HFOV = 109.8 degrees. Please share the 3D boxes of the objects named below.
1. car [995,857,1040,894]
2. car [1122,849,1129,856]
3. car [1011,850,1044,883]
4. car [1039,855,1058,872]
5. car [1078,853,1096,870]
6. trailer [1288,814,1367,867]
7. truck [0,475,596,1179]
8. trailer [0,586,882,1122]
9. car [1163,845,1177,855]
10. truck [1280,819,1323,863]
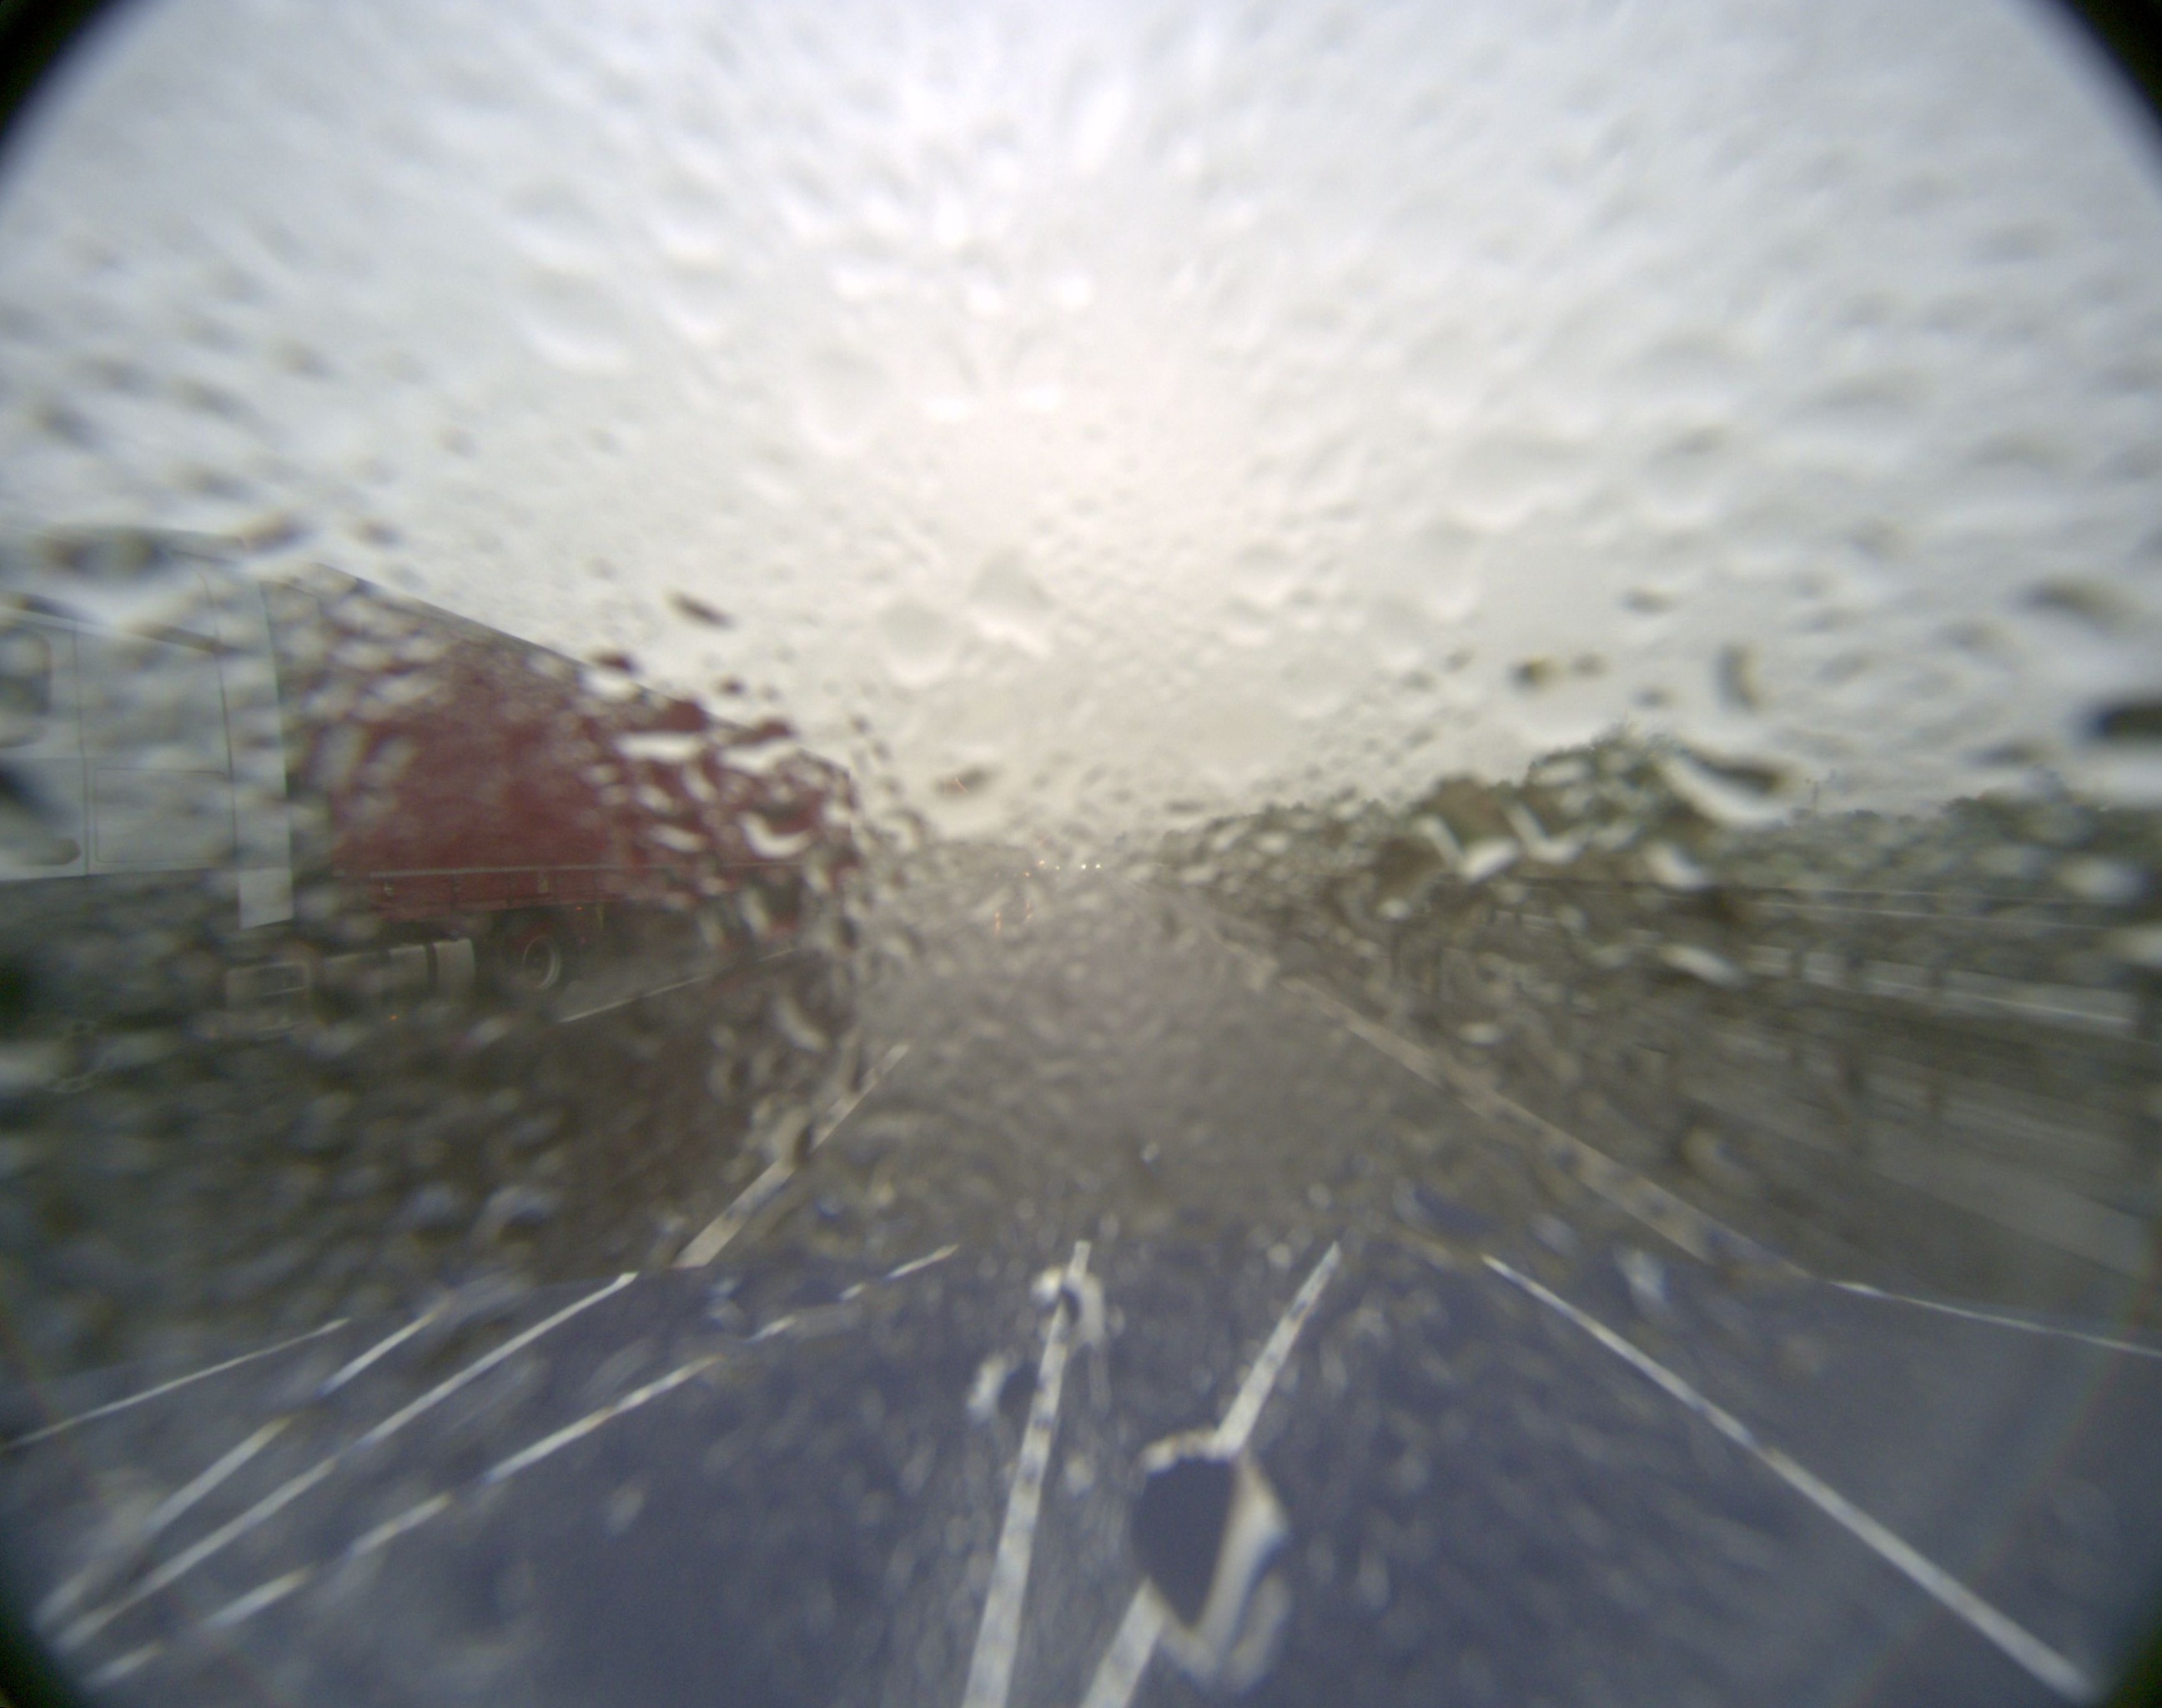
[{"bbox_3d":[-2.865,0.946,34.978,1.663,1.491,3.836,-2,0,1],"label":"car"},{"bbox_3d":[13.254,-0.447,225.016,1.845,2.002,4.000,-2,0,1],"label":"car"},{"bbox_3d":[-2.831,0.641,40.550,1.517,1.607,3.186,-2,0,0],"label":"car"},{"bbox_3d":[-3.495,1.002,82.568,1.845,1.671,4.000,-2,0,0],"label":"car"},{"bbox_3d":[0.646,0.769,80.887,1.845,1.671,4.000,-2,0,0],"label":"car"},{"bbox_3d":[20.090,-1.040,63.027,2.301,3.782,13.611,-2,0,1],"label":"trailer"},{"bbox_3d":[-7.138,-0.137,5.984,2.457,3.866,6.198,-2,0,1],"label":"truck"},{"bbox_3d":[-7.108,-0.022,13.652,2.486,3.744,16.543,-2,0,0],"label":"trailer"},{"bbox_3d":[22.607,-0.957,192.925,3.077,2.375,5.836,-2,0,1],"label":"car"},{"bbox_3d":[20.210,-1.139,69.847,2.323,3.783,5.400,-2,0,1],"label":"truck"}]
